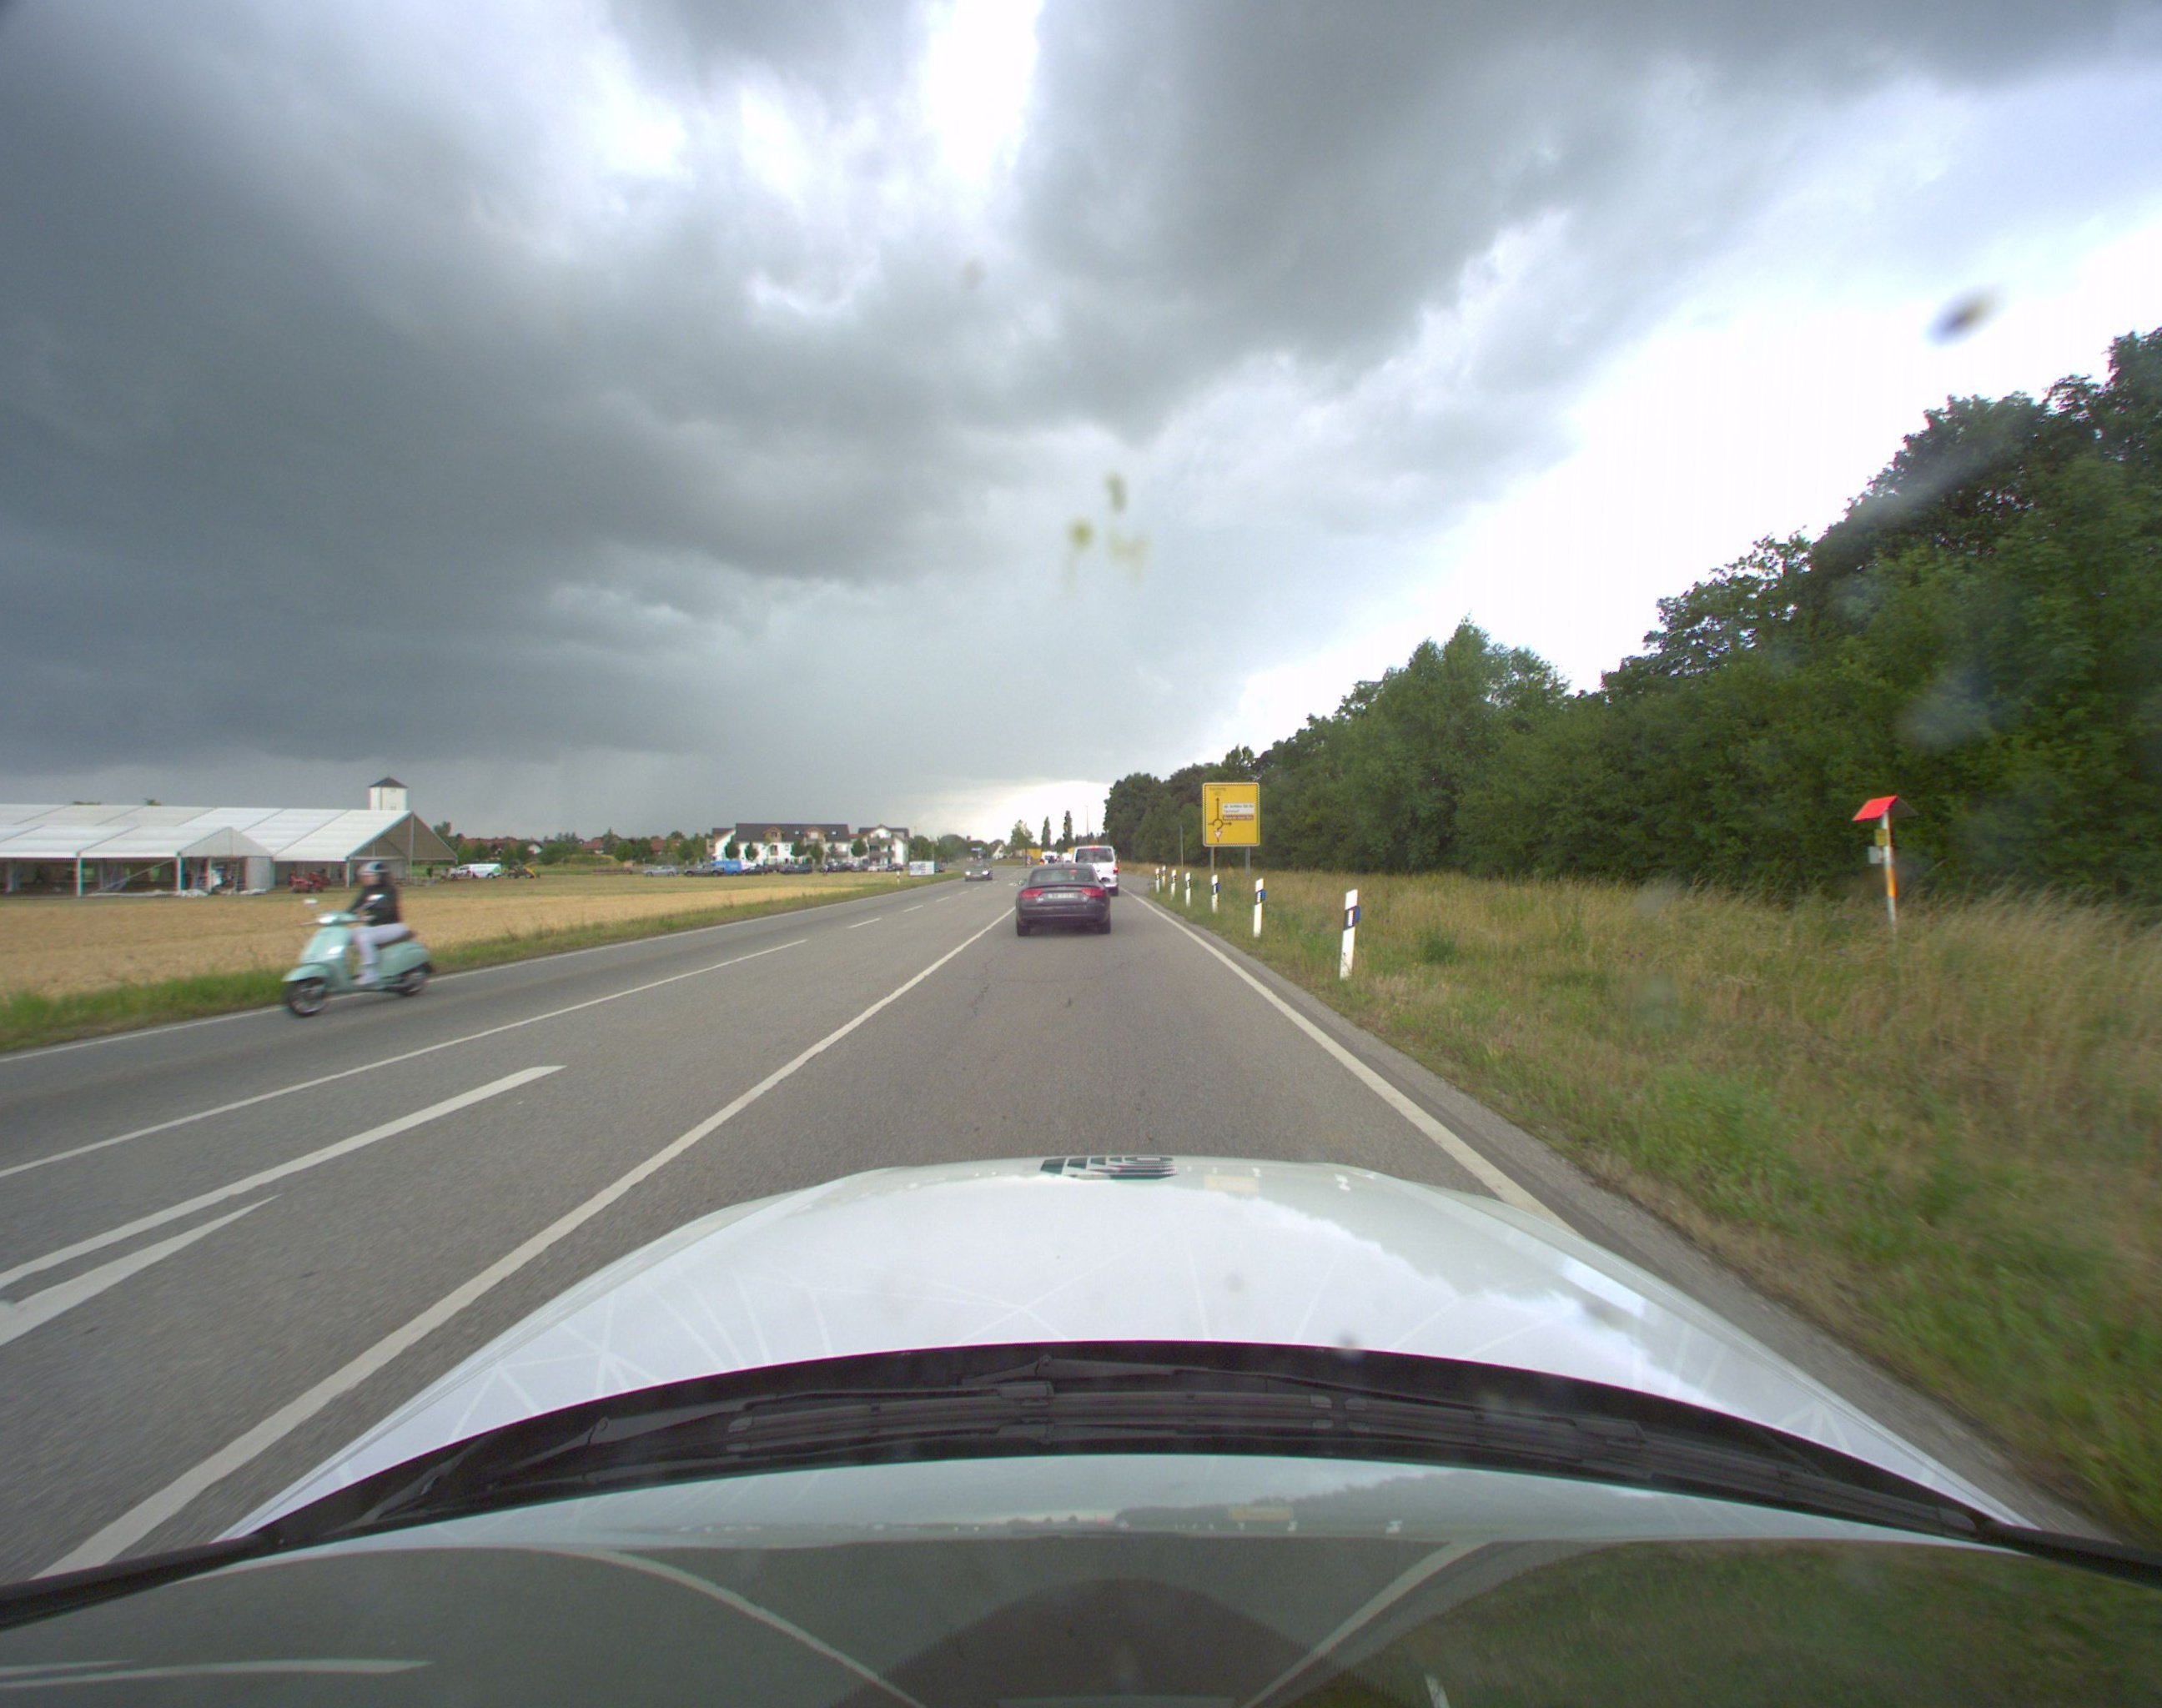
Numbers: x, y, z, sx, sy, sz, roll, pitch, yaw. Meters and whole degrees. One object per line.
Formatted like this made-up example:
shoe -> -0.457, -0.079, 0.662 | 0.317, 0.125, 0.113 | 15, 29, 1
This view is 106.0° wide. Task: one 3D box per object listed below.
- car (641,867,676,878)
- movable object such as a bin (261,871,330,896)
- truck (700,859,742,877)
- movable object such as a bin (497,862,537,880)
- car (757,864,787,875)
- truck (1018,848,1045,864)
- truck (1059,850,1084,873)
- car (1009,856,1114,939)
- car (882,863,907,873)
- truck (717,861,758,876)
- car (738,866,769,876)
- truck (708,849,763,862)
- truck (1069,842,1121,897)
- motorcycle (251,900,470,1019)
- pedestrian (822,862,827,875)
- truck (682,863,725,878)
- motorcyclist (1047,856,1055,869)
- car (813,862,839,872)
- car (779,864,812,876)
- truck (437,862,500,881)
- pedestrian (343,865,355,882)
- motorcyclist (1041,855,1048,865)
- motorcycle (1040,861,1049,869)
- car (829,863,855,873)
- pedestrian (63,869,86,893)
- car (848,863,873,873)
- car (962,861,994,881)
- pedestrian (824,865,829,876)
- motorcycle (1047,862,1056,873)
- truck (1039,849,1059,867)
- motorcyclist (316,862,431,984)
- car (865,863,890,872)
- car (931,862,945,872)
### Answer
car -> -59.295, 2.527, 114.297 | 4.319, 1.461, 1.874 | -1, -1, -28
movable object such as a bin -> -62.583, 2.321, 65.008 | 2.601, 1.864, 4.437 | -1, -1, -24
truck -> -51.849, 1.999, 117.330 | 5.474, 2.446, 2.374 | -1, -1, -25
movable object such as a bin -> -72.443, 2.164, 104.656 | 4.009, 2.243, 1.868 | -1, -1, -30
car -> -51.611, 2.544, 136.099 | 4.644, 1.697, 1.985 | -1, -1, -22
truck -> -11.592, 0.513, 189.299 | 3.588, 3.578, 9.891 | 0, 0, -19
truck -> -0.908, 0.722, 75.306 | 2.187, 2.014, 5.082 | -1, -1, -1
car -> -0.414, 0.806, 16.873 | 1.870, 1.454, 4.174 | -1, 0, -2
car -> -30.081, 2.238, 131.609 | 1.978, 1.446, 4.230 | -1, 0, 17
truck -> -52.683, 2.271, 124.900 | 5.591, 2.196, 2.586 | -1, -1, -25
car -> -49.105, 2.530, 122.183 | 4.172, 1.519, 1.985 | -1, -1, -22
truck -> -68.333, 0.283, 161.297 | 9.327, 2.530, 3.295 | -1, 0, -4
truck -> 0.492, 0.592, 32.800 | 1.899, 1.998, 4.626 | -1, 0, -1
motorcycle -> -8.484, 1.186, 9.738 | 0.723, 1.149, 2.026 | -1, 0, 3
pedestrian -> -35.404, 2.002, 112.488 | 0.549, 1.786, 0.675 | -1, -1, -13
truck -> -52.470, 2.306, 113.184 | 5.256, 1.921, 2.093 | -1, -1, -28
motorcyclist -> -3.138, 0.922, 85.667 | 0.770, 1.383, 0.819 | -1, -1, -3
car -> -42.199, 2.105, 134.805 | 1.978, 1.629, 4.230 | -1, 0, 17
car -> -43.701, 2.390, 124.570 | 4.734, 1.697, 1.985 | -1, -1, -22
truck -> -79.000, 2.220, 105.180 | 6.080, 2.217, 2.695 | -1, -1, -29
pedestrian -> -77.403, 2.032, 86.113 | 0.750, 1.779, 0.736 | -1, -1, 28
motorcyclist -> -4.940, 0.848, 110.425 | 0.785, 1.356, 0.851 | -1, -1, -8
motorcycle -> -4.950, 1.449, 110.524 | 0.943, 1.019, 2.278 | -1, 0, -7
car -> -38.907, 2.260, 132.580 | 1.978, 1.629, 4.230 | -1, 0, 17
pedestrian -> -90.519, 2.415, 73.257 | 0.863, 2.102, 0.940 | -1, -1, -3
car -> -35.746, 2.235, 132.231 | 1.978, 1.536, 4.230 | -1, 0, 17
car -> -7.713, 1.271, 61.413 | 1.821, 1.410, 4.423 | -2, 0, 0
pedestrian -> -35.467, 2.319, 113.585 | 0.591, 1.555, 0.621 | -1, -1, -20
motorcycle -> -3.136, 1.391, 85.950 | 0.917, 1.094, 2.187 | -1, 0, -2
truck -> -5.077, 0.710, 127.635 | 2.625, 2.737, 5.850 | 0, -1, -8
motorcyclist -> -8.485, 0.798, 9.798 | 0.637, 1.384, 0.810 | -1, -1, 3
car -> -32.980, 2.207, 131.913 | 1.978, 1.446, 4.230 | -1, 0, 17
car -> -21.017, 1.878, 119.634 | 1.995, 1.442, 3.983 | -1, 0, -12
